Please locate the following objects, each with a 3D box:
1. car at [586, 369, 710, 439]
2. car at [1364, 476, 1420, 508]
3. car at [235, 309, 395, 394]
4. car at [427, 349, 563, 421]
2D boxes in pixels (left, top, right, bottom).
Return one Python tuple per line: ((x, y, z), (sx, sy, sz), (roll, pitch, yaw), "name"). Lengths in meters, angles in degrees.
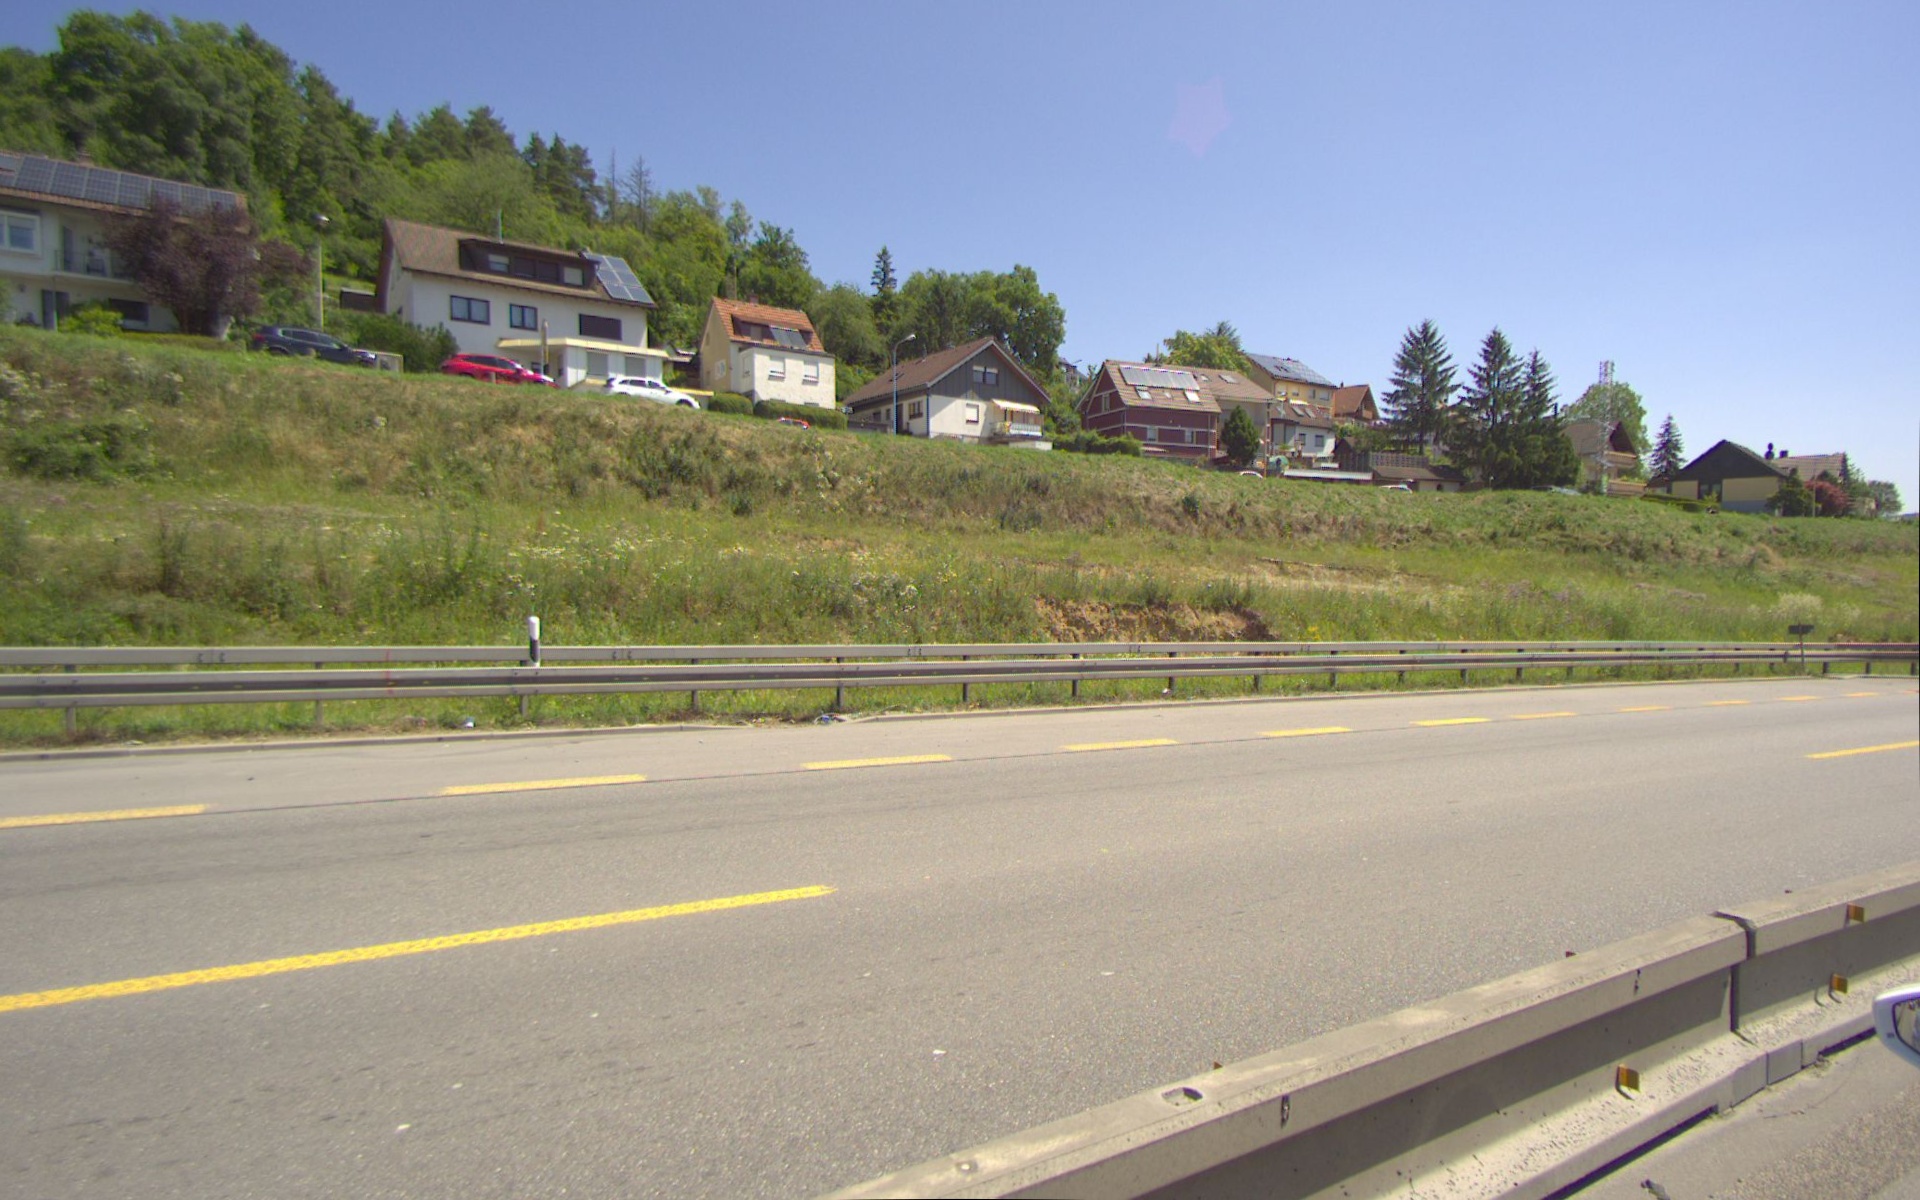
((-13.856, -8.622, 44.638), (4.767, 2.068, 2.334), (3, 0, -33), "car")
((34.787, -8.666, 80.891), (3.946, 2.040, 1.988), (3, 0, -25), "car")
((-23.355, -8.922, 36.434), (4.720, 1.817, 2.163), (3, -1, -37), "car")
((-18.997, -8.699, 41.104), (4.751, 1.817, 2.334), (3, -1, -33), "car")
